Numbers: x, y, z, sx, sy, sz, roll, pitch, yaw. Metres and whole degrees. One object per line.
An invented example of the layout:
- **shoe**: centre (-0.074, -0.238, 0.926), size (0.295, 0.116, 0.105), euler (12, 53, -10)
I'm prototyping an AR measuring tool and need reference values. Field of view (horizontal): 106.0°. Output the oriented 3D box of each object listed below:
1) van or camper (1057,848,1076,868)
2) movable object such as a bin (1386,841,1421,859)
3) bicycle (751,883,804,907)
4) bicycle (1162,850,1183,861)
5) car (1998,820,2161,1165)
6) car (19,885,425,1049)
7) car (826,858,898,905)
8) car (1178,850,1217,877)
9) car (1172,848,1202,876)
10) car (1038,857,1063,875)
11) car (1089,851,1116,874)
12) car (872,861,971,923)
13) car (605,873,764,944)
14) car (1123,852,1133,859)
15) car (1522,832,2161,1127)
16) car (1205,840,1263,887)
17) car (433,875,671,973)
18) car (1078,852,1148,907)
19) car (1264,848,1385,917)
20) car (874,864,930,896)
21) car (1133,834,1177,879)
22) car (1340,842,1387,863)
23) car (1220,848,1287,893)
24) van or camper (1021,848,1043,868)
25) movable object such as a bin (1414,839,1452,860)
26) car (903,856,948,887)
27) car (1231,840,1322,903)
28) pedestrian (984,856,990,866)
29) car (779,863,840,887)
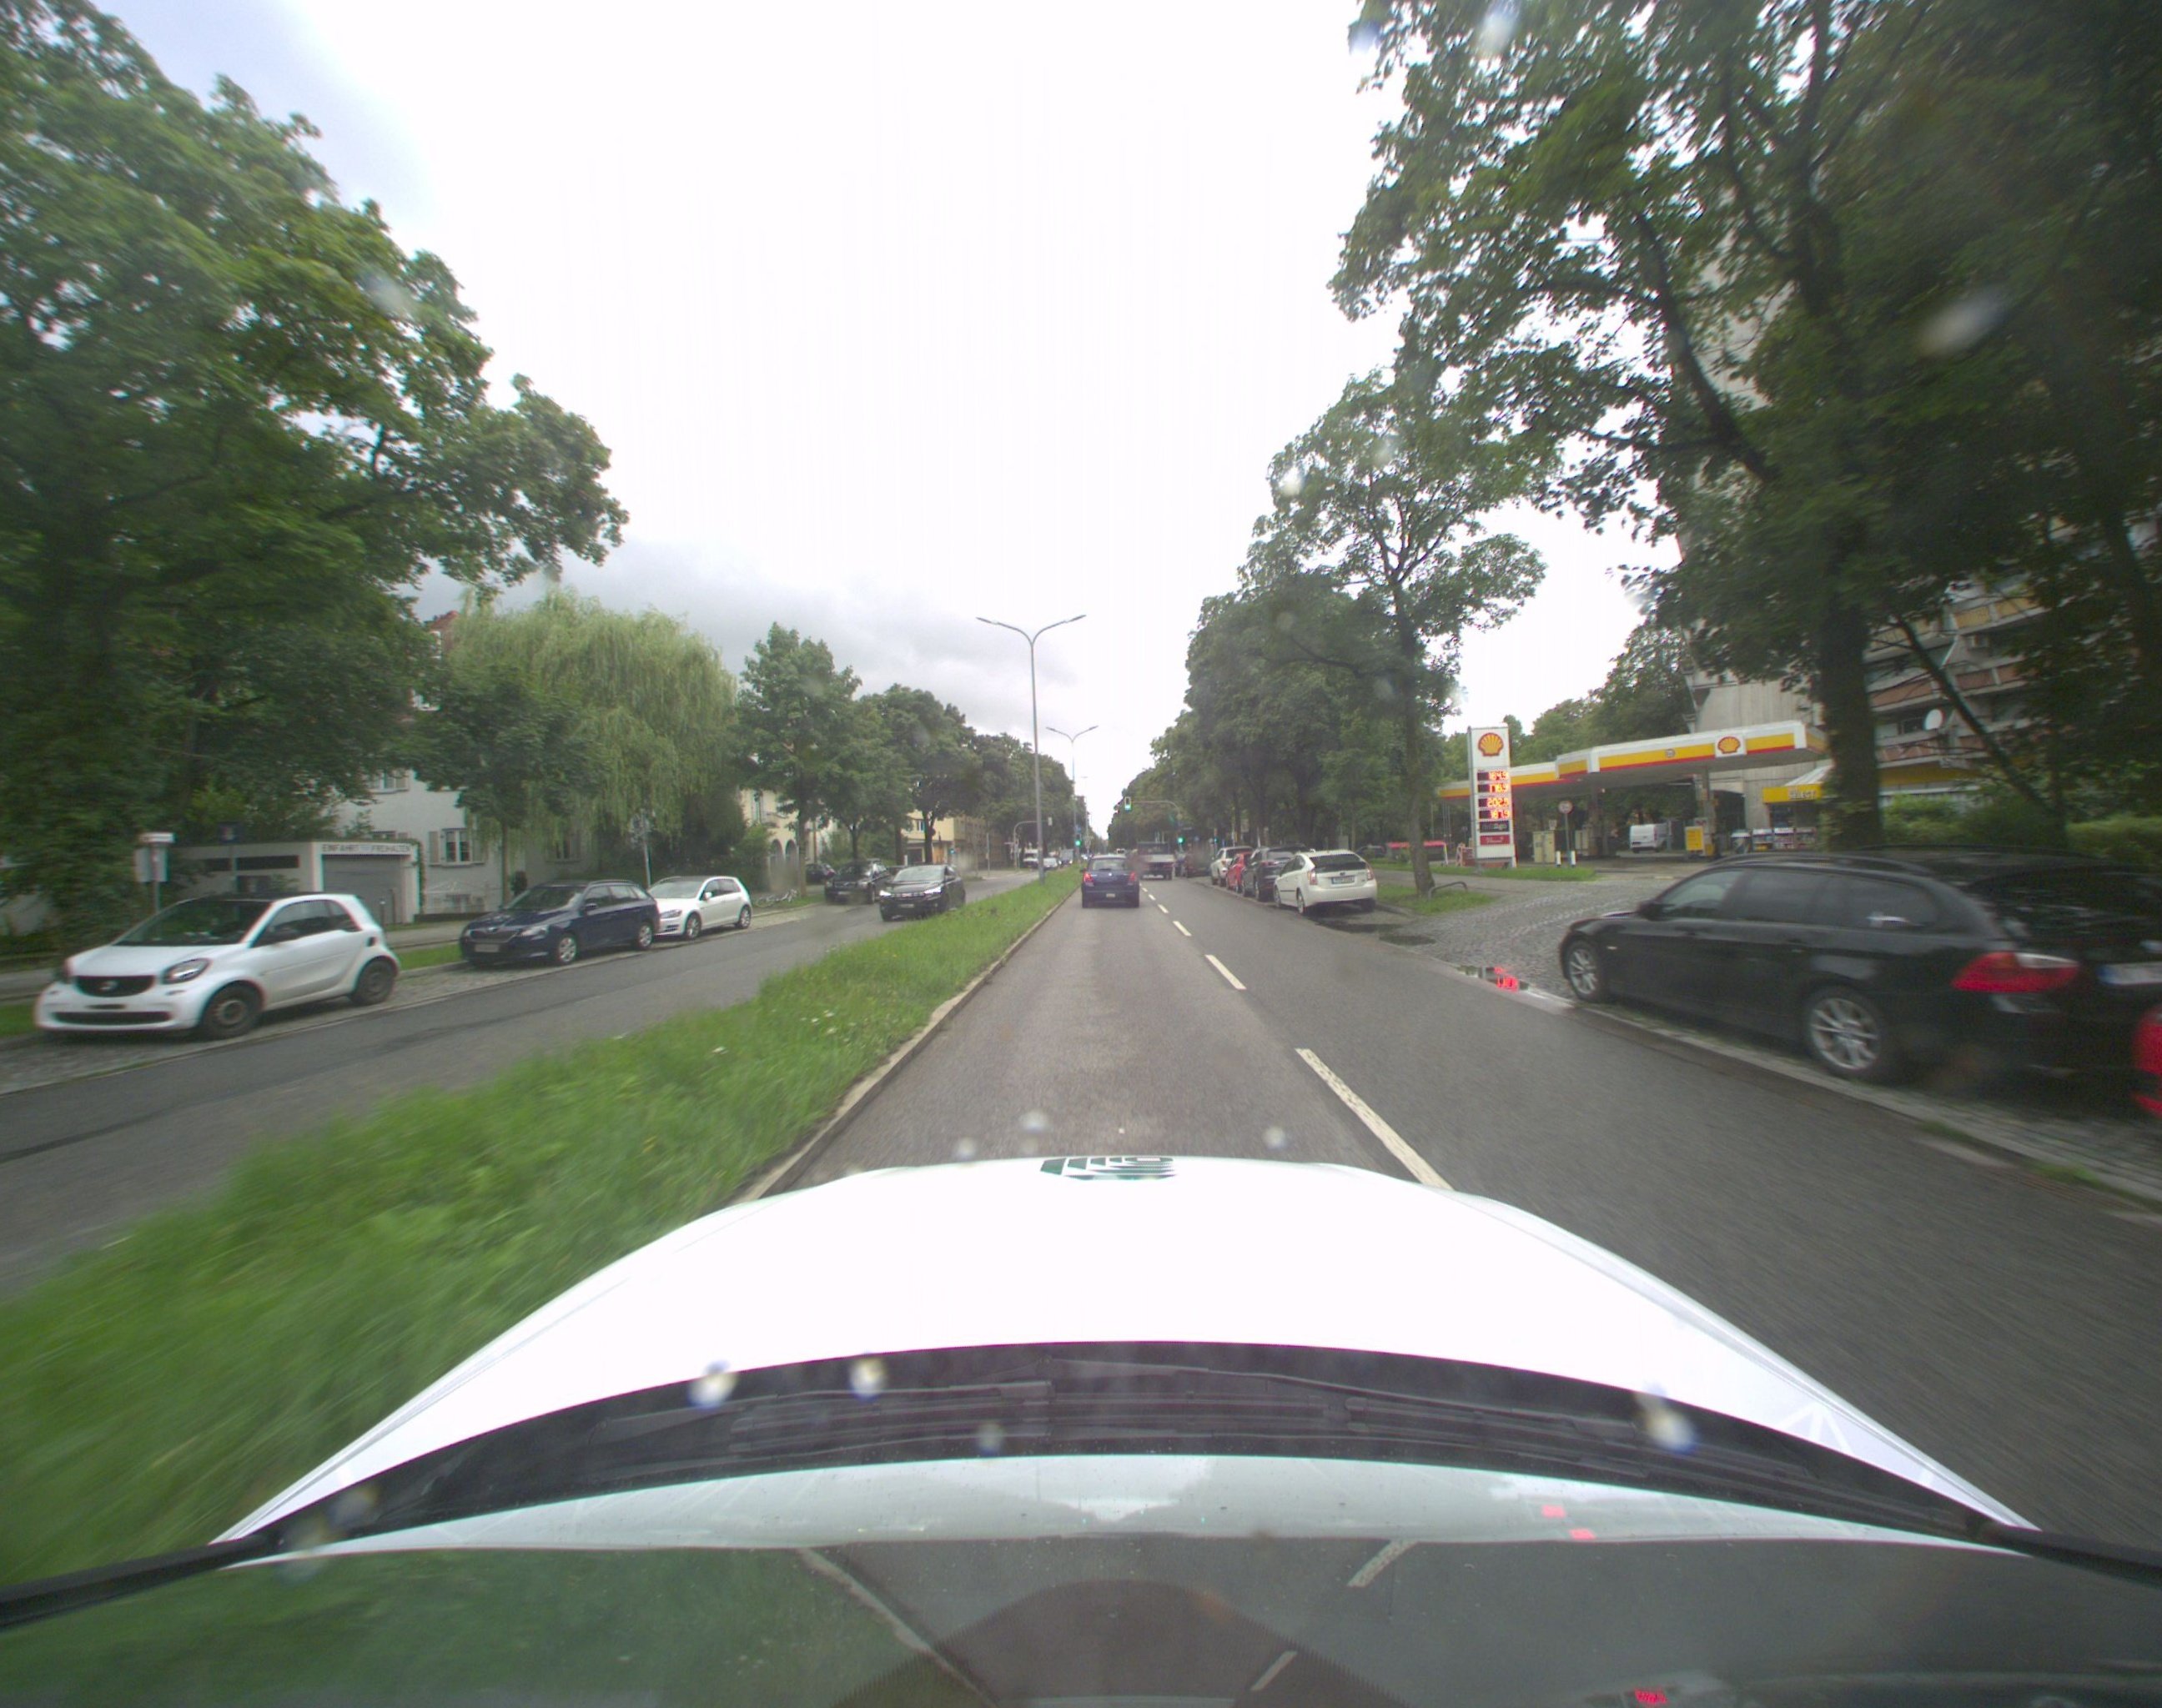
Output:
- **van or camper**: centre (-1.738, 0.440, 98.251), size (2.016, 2.260, 6.023), euler (-3, 0, 1)
- **movable object such as a bin**: centre (24.350, -0.326, 61.590), size (2.052, 1.263, 1.532), euler (-3, 0, 2)
- **bicycle**: centre (-11.530, 1.551, 30.977), size (1.446, 0.829, 1.404), euler (-1, 0, 2)
- **bicycle**: centre (9.968, 0.188, 88.802), size (2.288, 1.114, 0.997), euler (-1, 0, 3)
- **car**: centre (5.549, 0.580, 2.171), size (1.669, 1.501, 4.023), euler (-4, 0, 2)
- **car**: centre (-10.147, 1.232, 9.992), size (1.685, 1.565, 3.079), euler (0, 0, 0)
- **car**: centre (-9.079, 1.097, 34.149), size (1.791, 1.763, 5.054), euler (1, 0, -2)
- **car**: centre (7.155, 0.555, 50.456), size (1.706, 1.424, 4.283), euler (-6, 0, 1)
- **car**: centre (7.145, 0.496, 55.233), size (1.754, 1.658, 4.291), euler (-6, 0, 6)
- **car**: centre (-2.732, 1.055, 73.384), size (1.730, 1.442, 4.106), euler (-3, 0, 3)
- **car**: centre (1.552, 0.600, 59.488), size (1.793, 1.499, 3.660), euler (-2, 0, 1)
- **car**: centre (-4.358, 0.983, 22.938), size (1.732, 1.440, 4.217), euler (-3, 0, 2)
- **car**: centre (-9.698, 1.259, 20.349), size (1.668, 1.443, 4.322), euler (1, 0, 2)
- **car**: centre (10.321, 0.293, 179.737), size (1.781, 1.499, 3.658), euler (-1, 0, -1)
- **car**: centre (5.634, 0.655, 6.596), size (1.669, 1.453, 4.584), euler (-4, 0, 2)
- **car**: centre (6.777, 0.398, 36.510), size (1.754, 1.830, 4.530), euler (-4, 0, 2)
- **car**: centre (-9.862, 1.222, 15.656), size (1.668, 1.475, 4.217), euler (1, 0, 2)
- **car**: centre (0.889, 0.721, 24.616), size (1.891, 1.499, 3.658), euler (-1, 0, -1)
- **car**: centre (6.071, 0.641, 20.844), size (1.754, 1.453, 4.635), euler (-4, 0, 2)
- **car**: centre (-8.926, 1.282, 40.937), size (1.660, 1.445, 4.377), euler (1, 0, 2)
- **car**: centre (4.272, 0.137, 47.889), size (2.408, 2.444, 5.091), euler (-1, 0, 3)
- **car**: centre (27.442, -0.145, 79.242), size (3.858, 1.610, 1.937), euler (-6, 0, 8)
- **car**: centre (6.584, 0.590, 31.460), size (1.754, 1.506, 4.145), euler (-4, 0, 2)
- **van or camper**: centre (-6.476, 0.460, 108.858), size (2.132, 2.476, 6.262), euler (-3, 0, 2)
- **movable object such as a bin**: centre (26.571, -0.316, 61.540), size (2.053, 1.486, 1.838), euler (-3, 0, 2)
- **car**: centre (-8.737, 0.938, 45.969), size (1.661, 1.562, 4.298), euler (-2, 0, 0)
- **car**: centre (6.191, 0.506, 26.408), size (1.754, 1.698, 5.232), euler (-4, 0, 2)
- **pedestrian**: centre (-13.249, 1.000, 114.932), size (0.626, 1.440, 0.807), euler (-1, -1, 2)
- **car**: centre (-18.817, 1.417, 56.598), size (3.622, 1.462, 1.671), euler (-2, 0, -1)
